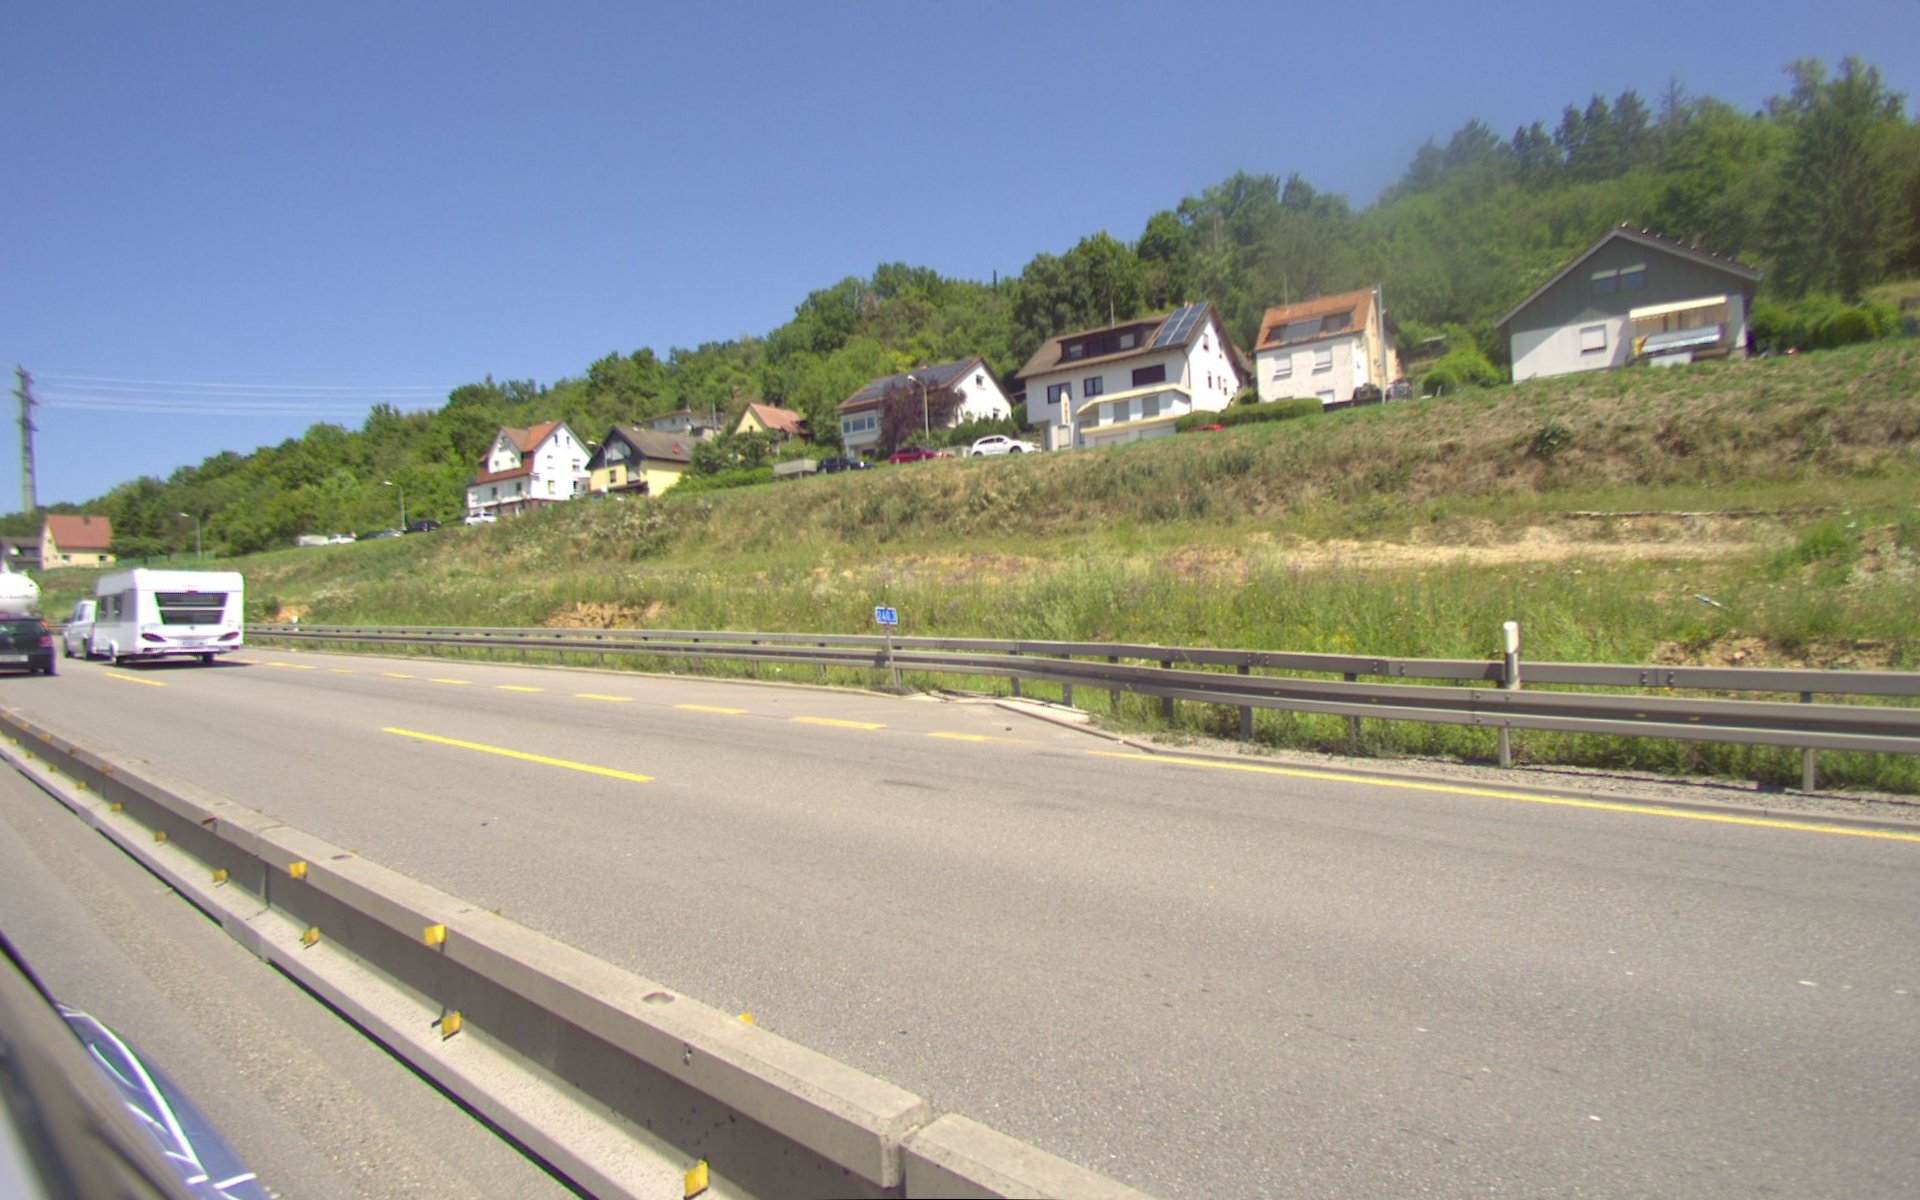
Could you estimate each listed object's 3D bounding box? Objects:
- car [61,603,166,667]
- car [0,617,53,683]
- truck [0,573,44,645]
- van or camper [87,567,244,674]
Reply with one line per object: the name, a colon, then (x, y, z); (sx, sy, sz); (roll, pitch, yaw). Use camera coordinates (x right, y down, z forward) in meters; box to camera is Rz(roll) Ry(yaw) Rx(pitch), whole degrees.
car: (-26.977, 1.078, 32.220); (3.663, 1.833, 1.973); (-1, 1, 41)
car: (-22.441, 1.147, 23.547); (3.174, 1.439, 1.639); (-1, 0, 41)
truck: (-49.740, 0.489, 52.359); (9.301, 3.458, 2.355); (-1, 1, 41)
van or camper: (-22.031, 0.551, 27.967); (6.049, 2.670, 2.351); (-1, -1, 41)
